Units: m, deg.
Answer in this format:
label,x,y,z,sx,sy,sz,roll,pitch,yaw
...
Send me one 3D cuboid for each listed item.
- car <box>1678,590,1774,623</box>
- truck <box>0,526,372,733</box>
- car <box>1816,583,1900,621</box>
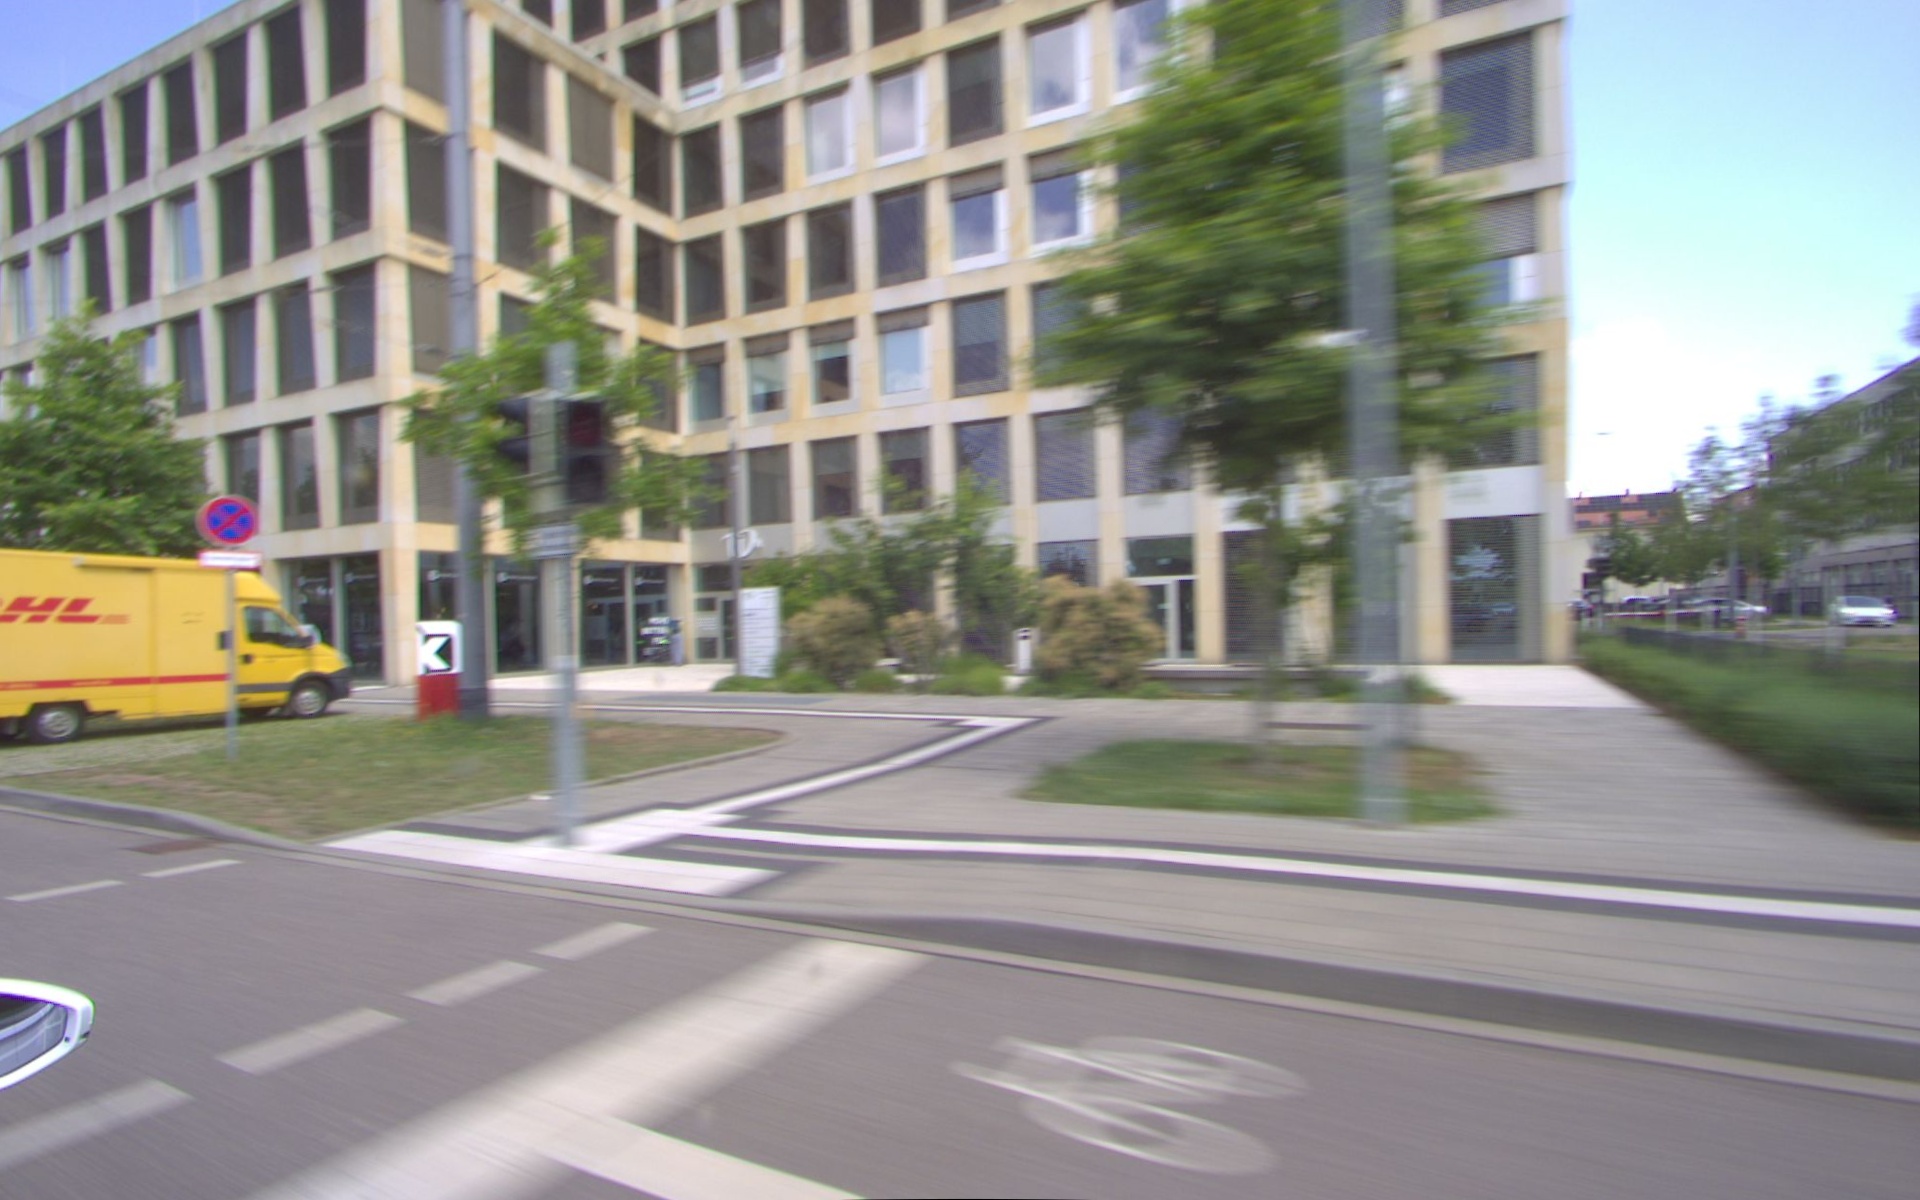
label,x,y,z,sx,sy,sz,roll,pitch,yaw
car,43.022,0.390,56.368,3.974,1.586,1.800,-5,-3,30
truck,-13.711,0.519,16.394,2.416,2.903,6.807,-4,-2,25
car,42.149,0.151,47.094,1.780,1.586,4.018,-5,-3,26
